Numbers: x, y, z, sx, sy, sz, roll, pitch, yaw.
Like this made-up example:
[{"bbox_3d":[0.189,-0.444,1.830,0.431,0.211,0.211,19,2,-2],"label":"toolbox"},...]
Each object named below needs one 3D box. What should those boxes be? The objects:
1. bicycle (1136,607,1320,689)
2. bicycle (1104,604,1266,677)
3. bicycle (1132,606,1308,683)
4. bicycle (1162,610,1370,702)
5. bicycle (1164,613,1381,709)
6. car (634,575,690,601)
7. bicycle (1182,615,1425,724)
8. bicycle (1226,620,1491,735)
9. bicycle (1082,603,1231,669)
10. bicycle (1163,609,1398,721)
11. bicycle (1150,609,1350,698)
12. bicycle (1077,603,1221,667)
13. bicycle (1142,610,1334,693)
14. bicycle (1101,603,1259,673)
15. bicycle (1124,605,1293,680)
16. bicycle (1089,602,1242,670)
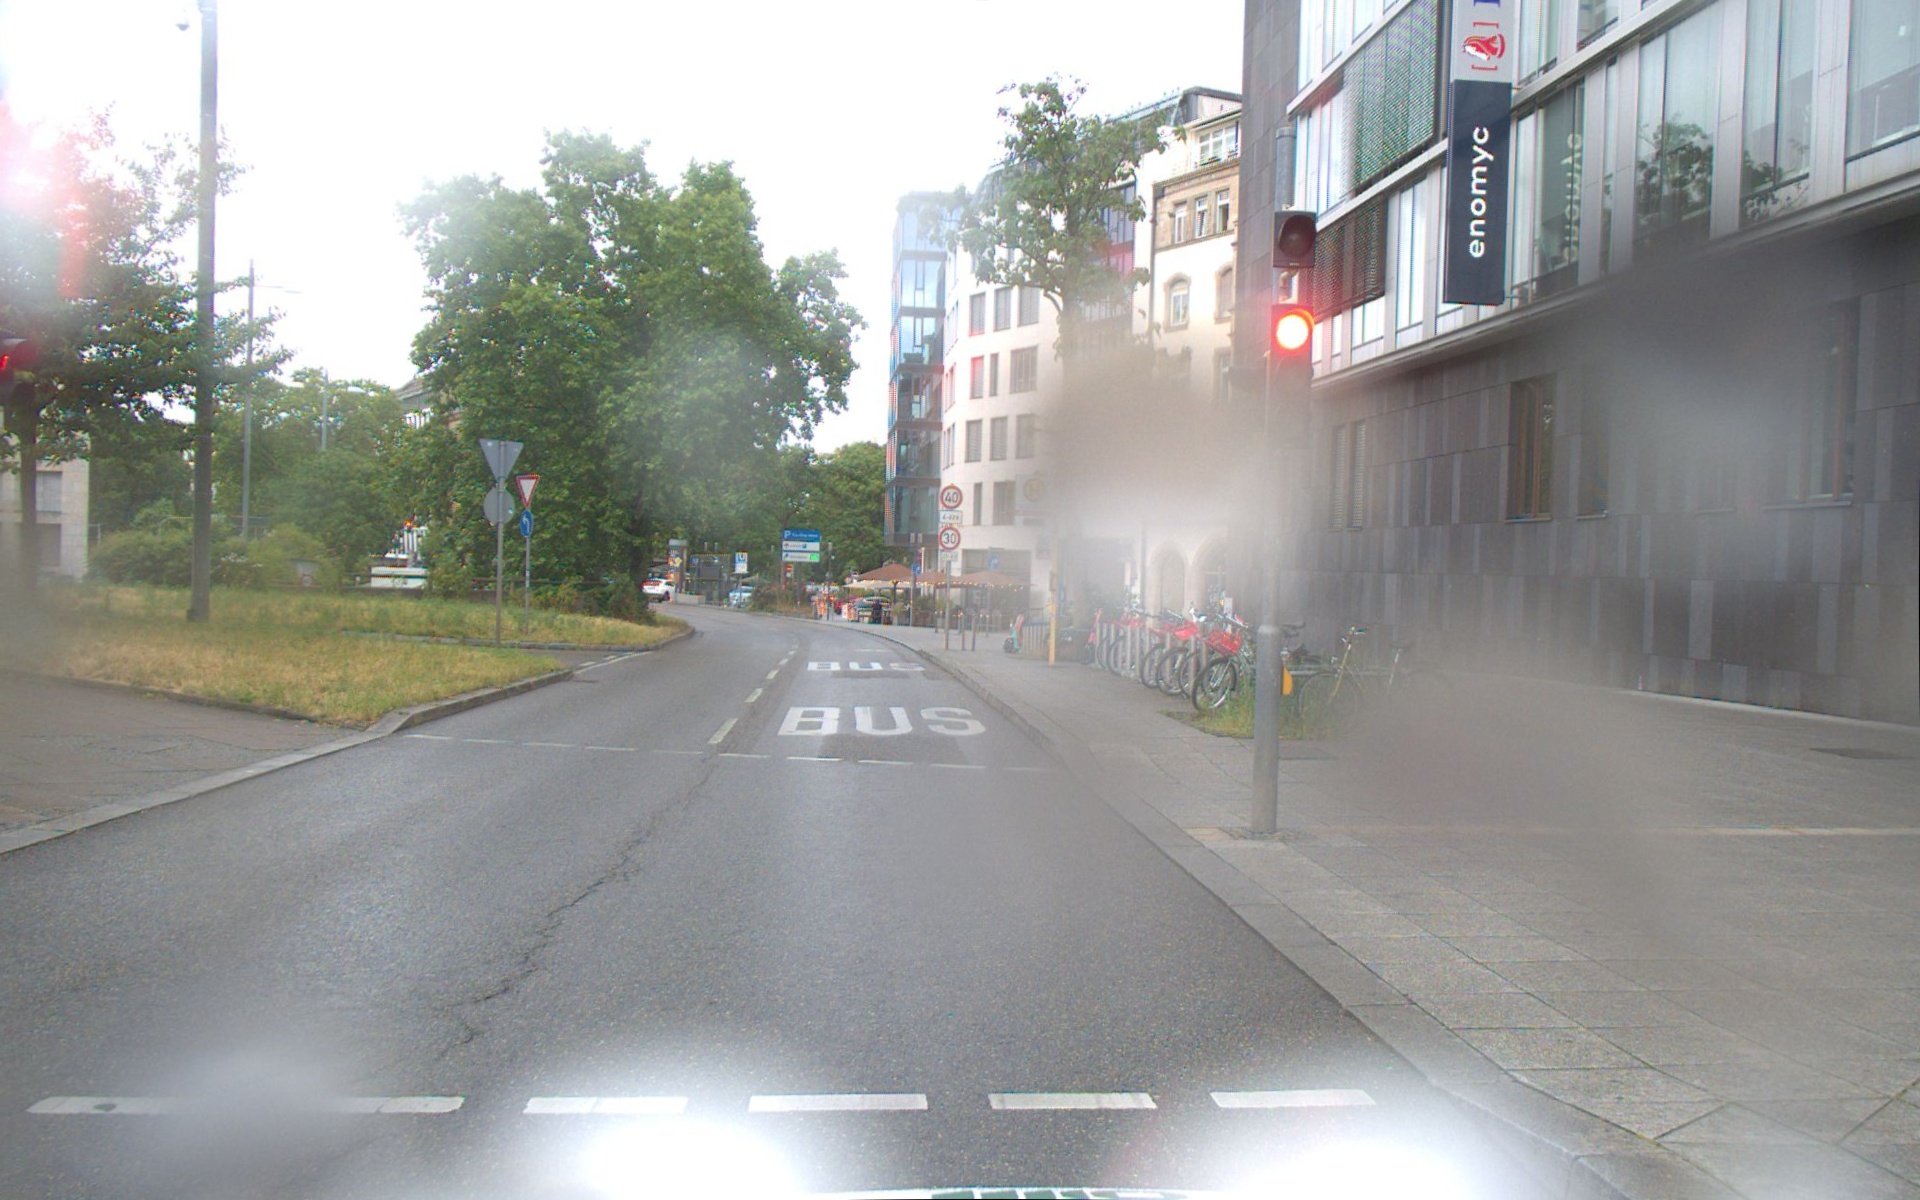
[{"bbox_3d":[3.789,0.677,23.448,2.486,1.106,0.677,1,0,-6],"label":"bicycle"},{"bbox_3d":[3.588,0.645,26.459,2.486,1.106,0.677,1,0,-6],"label":"bicycle"},{"bbox_3d":[3.862,0.659,24.645,2.486,1.106,0.677,1,0,-6],"label":"bicycle"},{"bbox_3d":[3.849,0.705,20.863,2.486,1.106,0.677,1,0,-6],"label":"bicycle"},{"bbox_3d":[3.764,0.727,20.006,2.486,1.106,0.677,1,0,-6],"label":"bicycle"},{"bbox_3d":[-21.200,-0.816,117.775,2.134,1.730,4.001,2,0,20],"label":"car"},{"bbox_3d":[3.714,0.749,17.977,2.487,1.106,0.677,1,0,-6],"label":"bicycle"},{"bbox_3d":[3.959,0.768,16.503,2.487,1.075,0.677,1,0,-6],"label":"bicycle"},{"bbox_3d":[3.419,0.618,28.845,2.486,1.106,0.677,1,0,-6],"label":"bicycle"},{"bbox_3d":[3.627,0.726,18.779,2.487,1.106,0.677,3,0,-6],"label":"bicycle"},{"bbox_3d":[3.781,0.696,21.672,2.486,1.106,0.677,1,0,-6],"label":"bicycle"},{"bbox_3d":[3.373,0.624,29.566,2.486,1.106,0.627,1,0,-6],"label":"bicycle"},{"bbox_3d":[3.774,0.695,22.538,2.486,1.078,0.677,1,0,-6],"label":"bicycle"},{"bbox_3d":[3.611,0.627,27.211,2.486,1.106,0.677,1,0,-6],"label":"bicycle"},{"bbox_3d":[3.836,0.654,25.623,2.486,1.106,0.677,1,0,-6],"label":"bicycle"},{"bbox_3d":[3.476,0.610,28.098,2.486,1.106,0.677,1,0,-6],"label":"bicycle"}]
